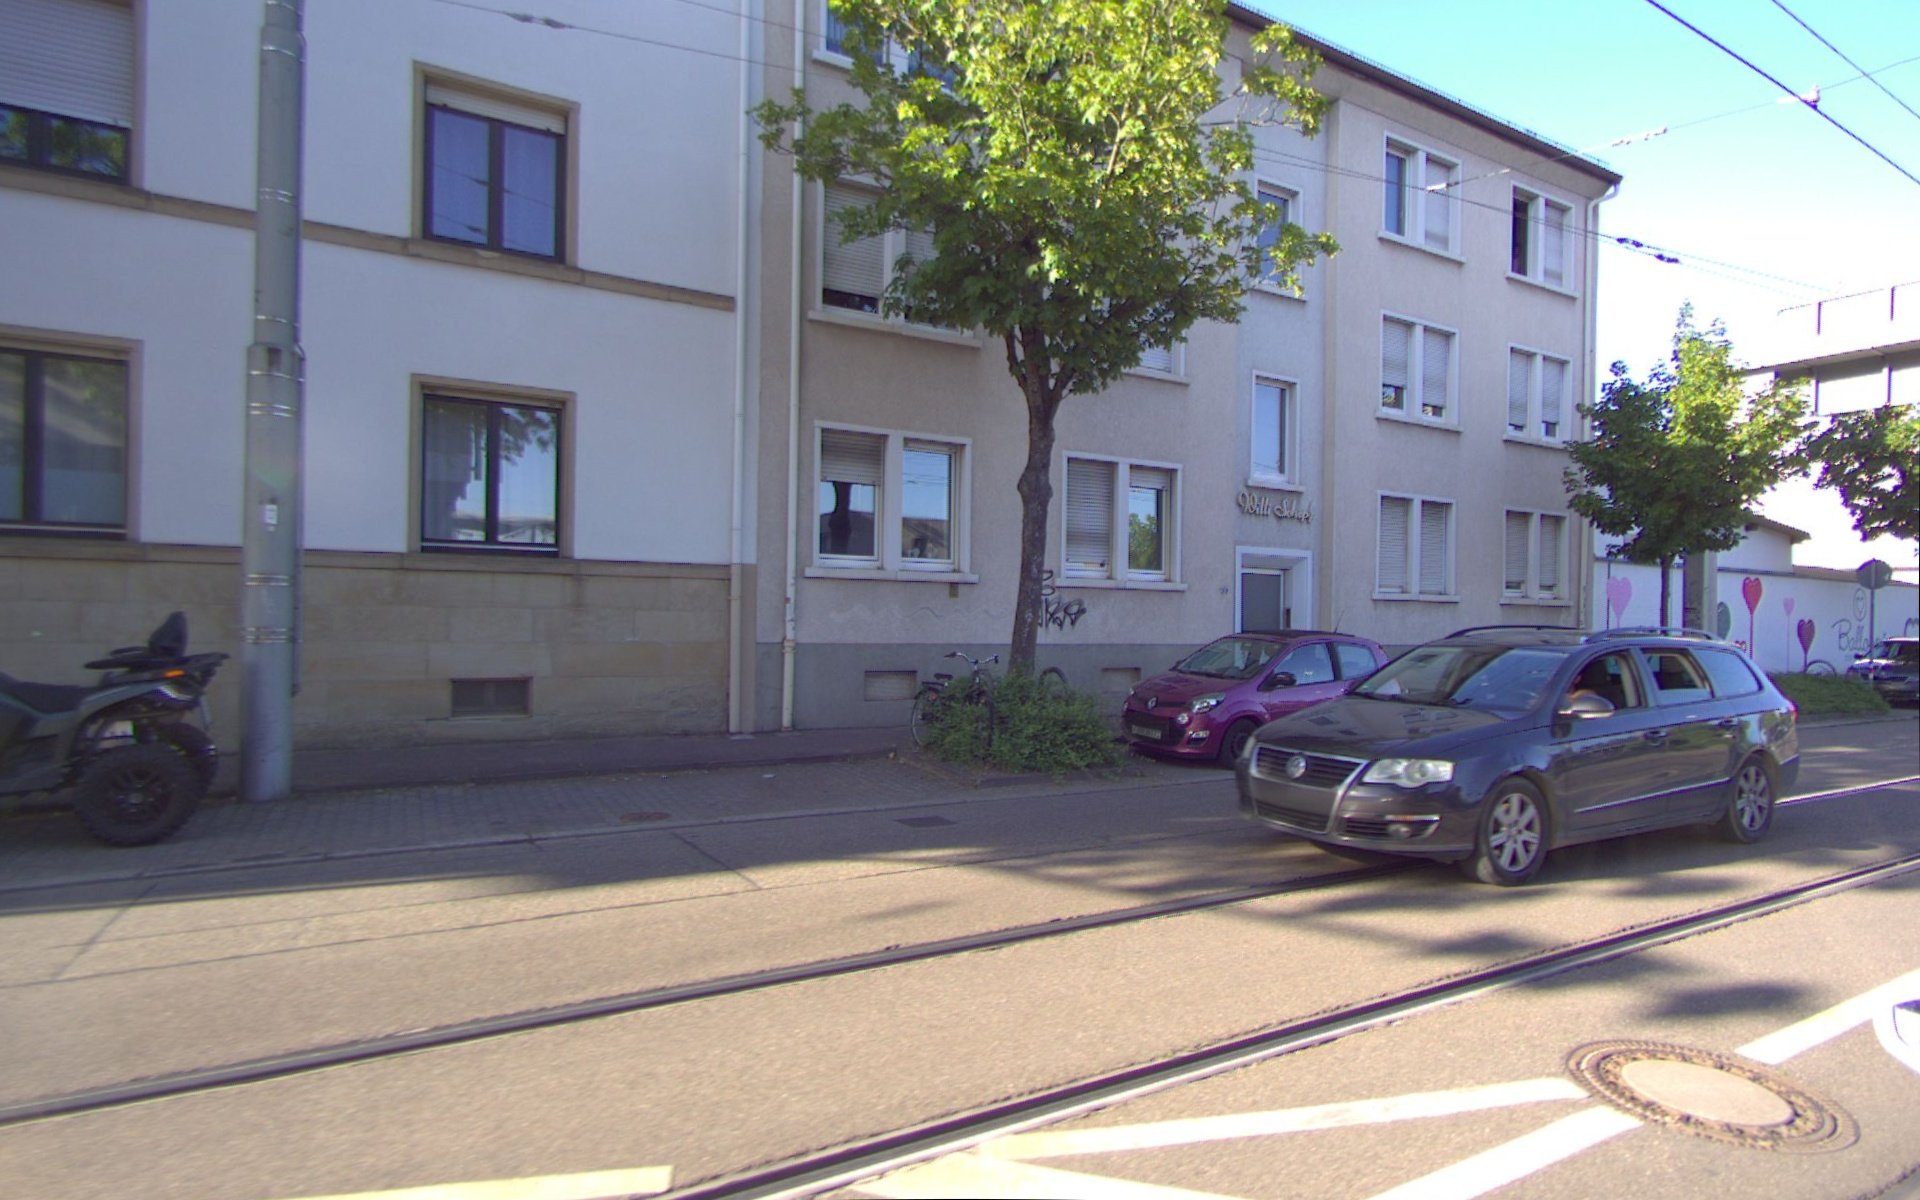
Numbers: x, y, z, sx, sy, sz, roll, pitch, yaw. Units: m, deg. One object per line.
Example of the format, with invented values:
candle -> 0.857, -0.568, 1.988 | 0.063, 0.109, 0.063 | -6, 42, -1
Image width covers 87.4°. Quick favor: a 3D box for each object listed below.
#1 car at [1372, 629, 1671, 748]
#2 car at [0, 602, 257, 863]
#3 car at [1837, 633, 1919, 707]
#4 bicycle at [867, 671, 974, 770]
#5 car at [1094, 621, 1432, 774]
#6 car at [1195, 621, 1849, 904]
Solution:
car -> 8.177, 1.199, 14.559 | 4.242, 1.448, 1.864 | 2, 0, -30
car -> -6.201, 0.809, 6.510 | 2.516, 1.523, 1.349 | -2, 1, -30
car -> 21.397, 1.530, 22.498 | 4.265, 1.505, 1.760 | 2, 0, -37
bicycle -> -0.445, 1.216, 10.476 | 0.273, 0.813, 1.777 | 2, 0, -31
car -> 3.669, 1.073, 11.996 | 3.953, 1.525, 1.564 | 2, 0, -30
car -> 4.085, 0.940, 7.147 | 4.685, 1.482, 1.760 | 2, -2, -27
